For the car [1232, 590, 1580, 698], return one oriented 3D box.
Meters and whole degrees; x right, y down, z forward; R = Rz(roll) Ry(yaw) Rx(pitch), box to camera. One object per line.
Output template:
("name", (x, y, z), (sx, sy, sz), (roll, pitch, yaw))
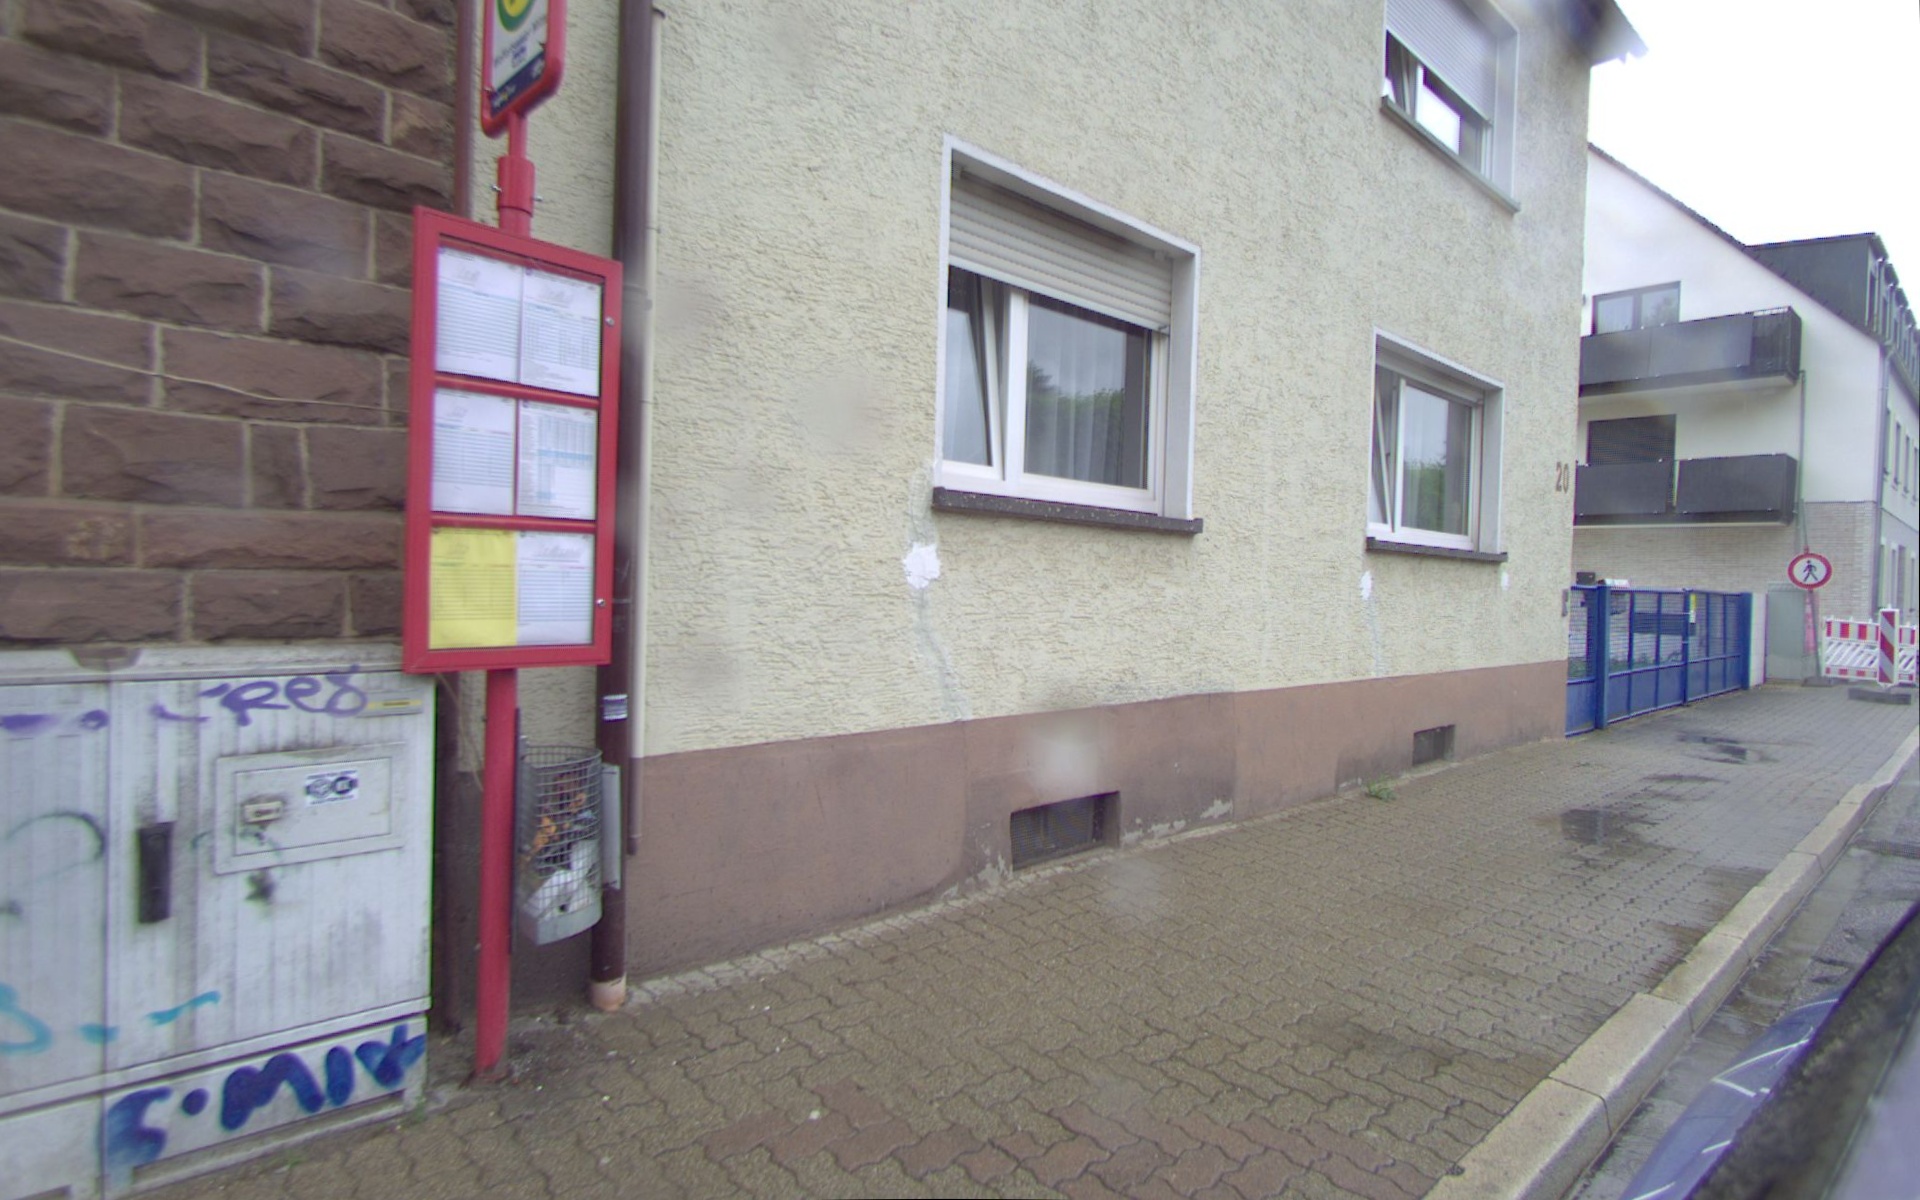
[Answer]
("car", (6.212, 0.579, 14.461), (1.879, 1.319, 4.148), (0, -1, -42))
